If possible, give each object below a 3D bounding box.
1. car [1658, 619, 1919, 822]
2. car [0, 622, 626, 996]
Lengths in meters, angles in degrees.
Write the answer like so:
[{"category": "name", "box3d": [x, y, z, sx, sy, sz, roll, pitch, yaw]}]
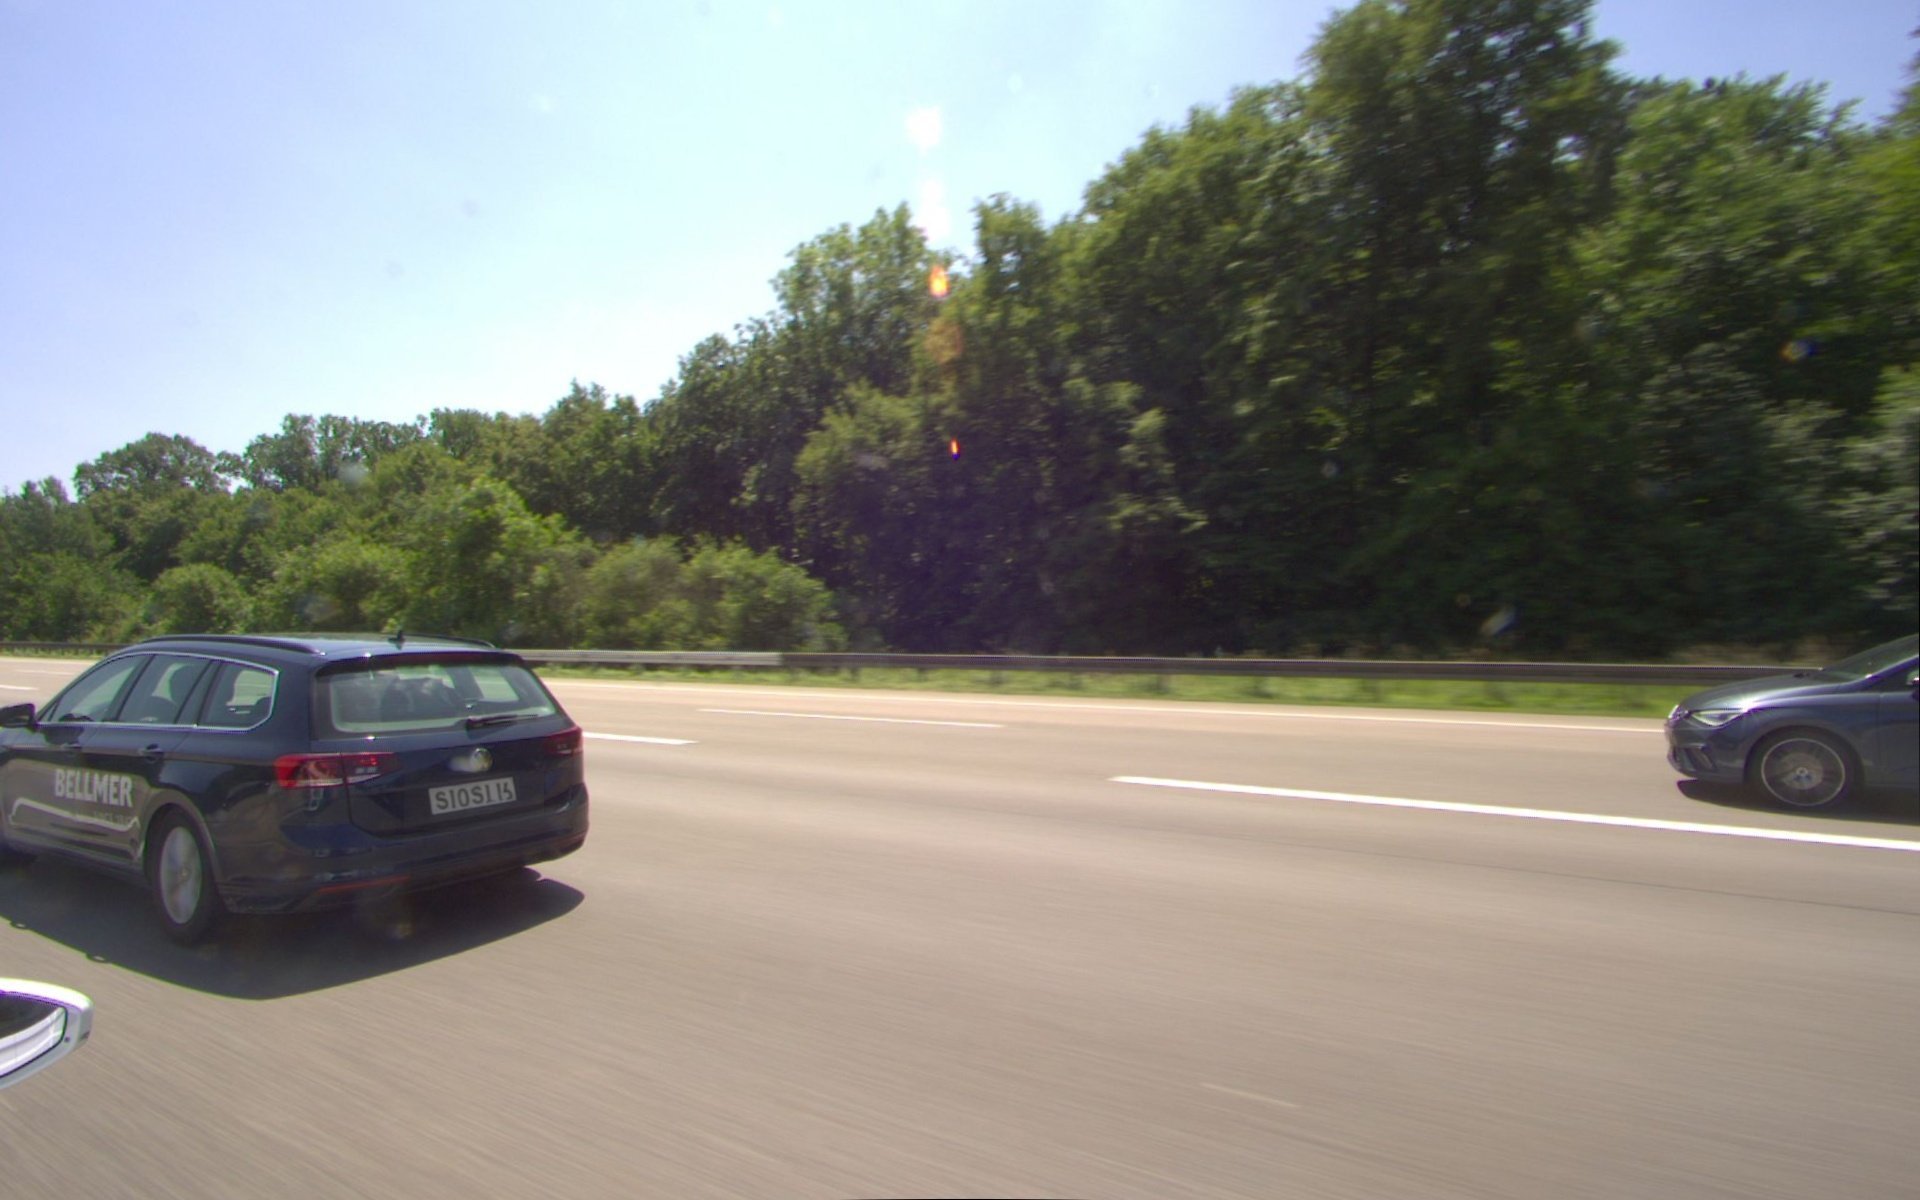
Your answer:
[{"category": "car", "box3d": [8.039, 0.876, 7.444, 4.568, 1.457, 1.640, -1, -2, 32]}, {"category": "car", "box3d": [-4.311, 0.871, 6.028, 4.891, 1.466, 1.726, -1, -1, 33]}]
